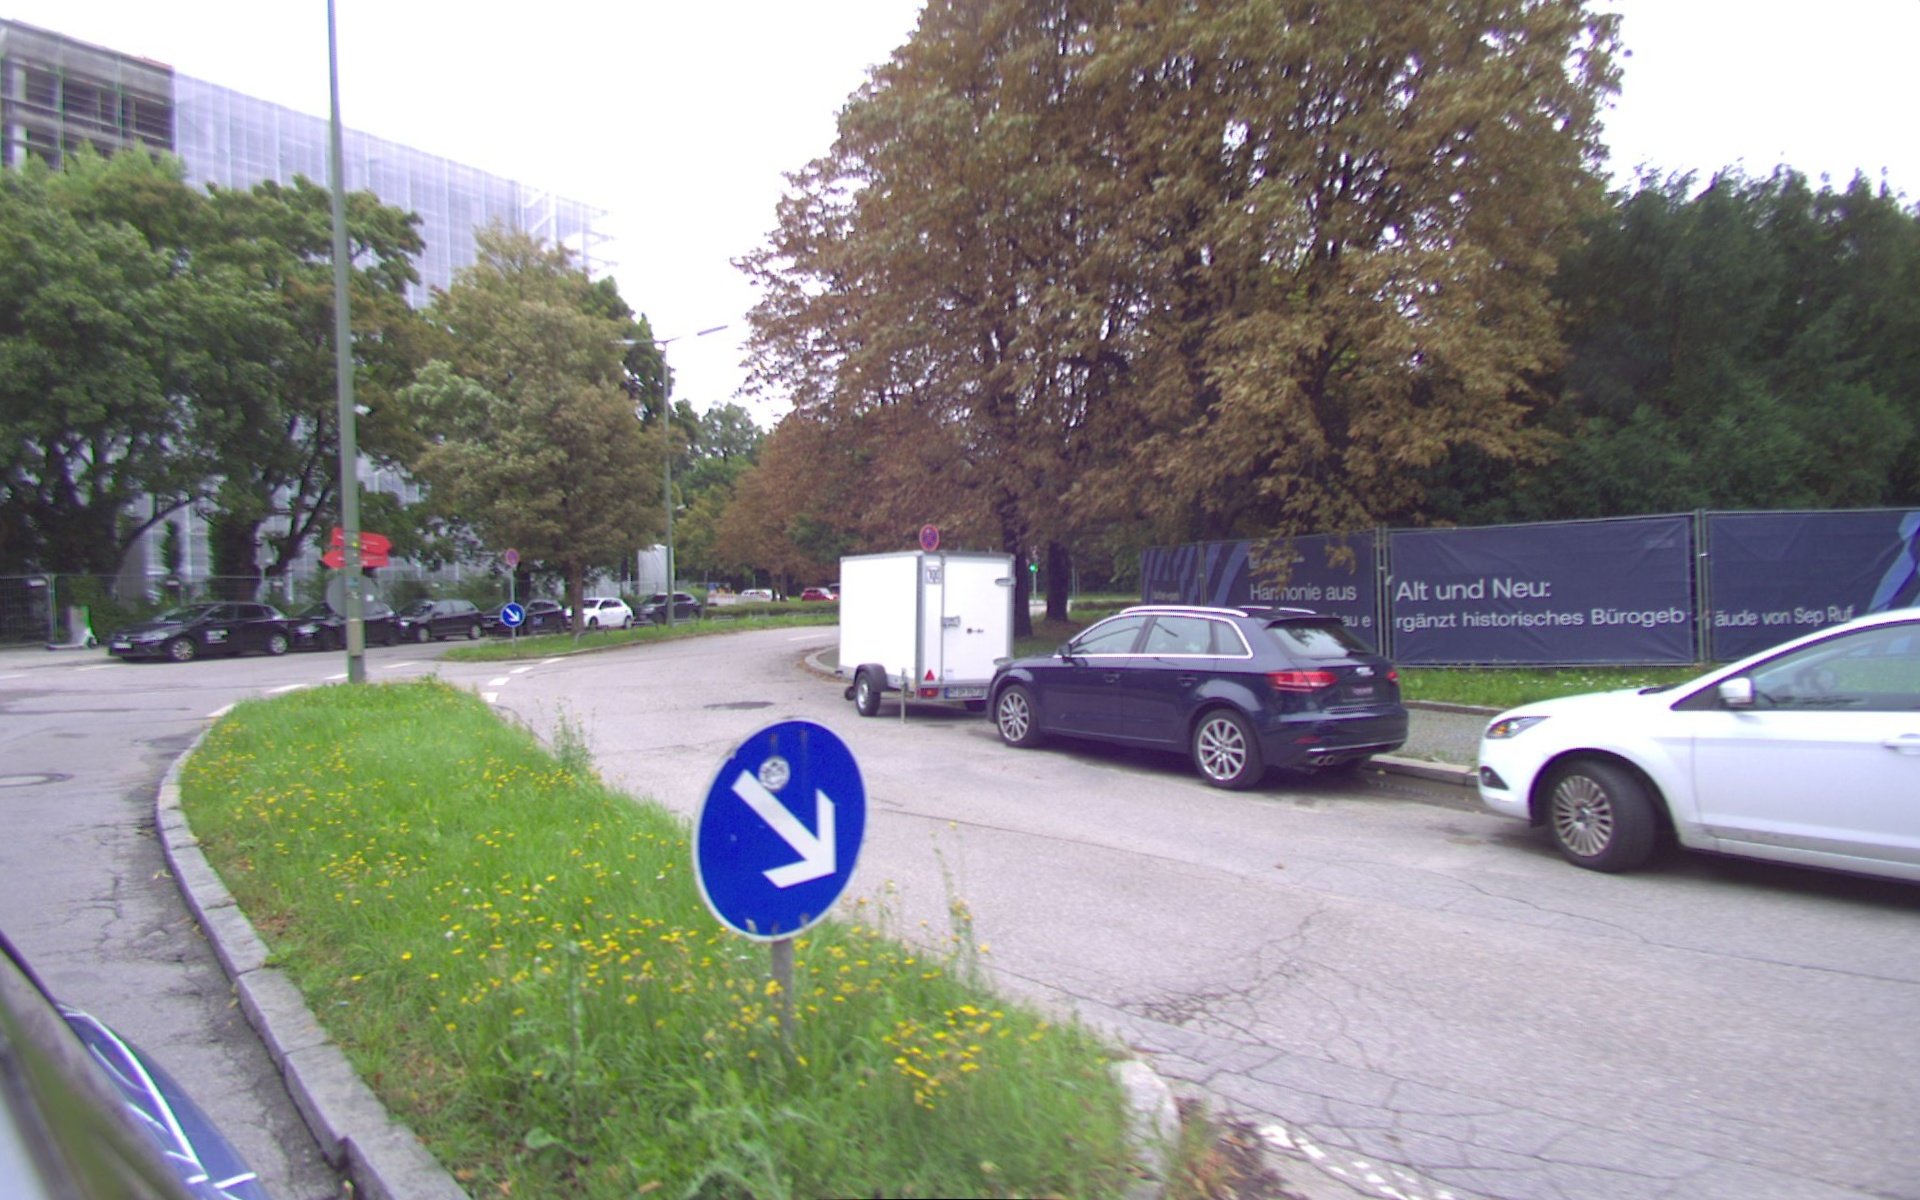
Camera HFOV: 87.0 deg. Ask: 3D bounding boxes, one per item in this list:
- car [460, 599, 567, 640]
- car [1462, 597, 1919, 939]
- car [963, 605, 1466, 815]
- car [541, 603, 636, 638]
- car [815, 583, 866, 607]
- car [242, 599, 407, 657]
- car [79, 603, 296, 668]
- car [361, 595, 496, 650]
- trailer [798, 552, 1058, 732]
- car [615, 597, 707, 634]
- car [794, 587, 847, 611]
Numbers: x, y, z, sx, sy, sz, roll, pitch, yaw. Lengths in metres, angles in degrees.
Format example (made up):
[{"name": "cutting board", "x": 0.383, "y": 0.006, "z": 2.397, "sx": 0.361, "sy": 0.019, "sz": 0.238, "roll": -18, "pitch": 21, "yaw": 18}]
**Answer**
[{"name": "car", "x": -17.059, "y": 0.725, "z": 38.850, "sx": 1.821, "sy": 1.472, "sz": 3.992, "roll": -1, "pitch": 0, "yaw": 11}, {"name": "car", "x": 5.000, "y": 0.738, "z": 4.927, "sx": 1.744, "sy": 1.497, "sz": 4.228, "roll": -1, "pitch": 0, "yaw": -40}, {"name": "car", "x": 2.039, "y": 0.775, "z": 9.330, "sx": 1.847, "sy": 1.448, "sz": 4.339, "roll": 0, "pitch": 0, "yaw": -35}, {"name": "car", "x": -15.877, "y": 0.868, "z": 43.493, "sx": 1.784, "sy": 1.394, "sz": 4.200, "roll": -1, "pitch": 0, "yaw": 14}, {"name": "car", "x": -10.401, "y": -0.390, "z": 87.927, "sx": 3.985, "sy": 2.029, "sz": 1.979, "roll": -1, "pitch": 0, "yaw": 31}, {"name": "car", "x": -18.398, "y": 0.753, "z": 29.539, "sx": 1.977, "sy": 1.552, "sz": 3.989, "roll": 0, "pitch": 0, "yaw": 9}, {"name": "car", "x": -19.116, "y": 0.817, "z": 25.301, "sx": 1.979, "sy": 1.443, "sz": 4.028, "roll": 1, "pitch": 0, "yaw": 12}, {"name": "car", "x": -17.764, "y": 0.702, "z": 34.036, "sx": 1.979, "sy": 1.719, "sz": 3.986, "roll": 1, "pitch": 0, "yaw": 11}, {"name": "trailer", "x": -0.670, "y": 0.487, "z": 13.948, "sx": 1.783, "sy": 2.029, "sz": 4.850, "roll": -1, "pitch": 0, "yaw": -25}, {"name": "car", "x": -14.087, "y": 0.762, "z": 47.914, "sx": 1.879, "sy": 1.618, "sz": 4.363, "roll": -1, "pitch": -2, "yaw": 22}, {"name": "car", "x": -11.808, "y": -0.080, "z": 85.623, "sx": 4.142, "sy": 2.029, "sz": 1.979, "roll": -1, "pitch": 0, "yaw": 31}]
